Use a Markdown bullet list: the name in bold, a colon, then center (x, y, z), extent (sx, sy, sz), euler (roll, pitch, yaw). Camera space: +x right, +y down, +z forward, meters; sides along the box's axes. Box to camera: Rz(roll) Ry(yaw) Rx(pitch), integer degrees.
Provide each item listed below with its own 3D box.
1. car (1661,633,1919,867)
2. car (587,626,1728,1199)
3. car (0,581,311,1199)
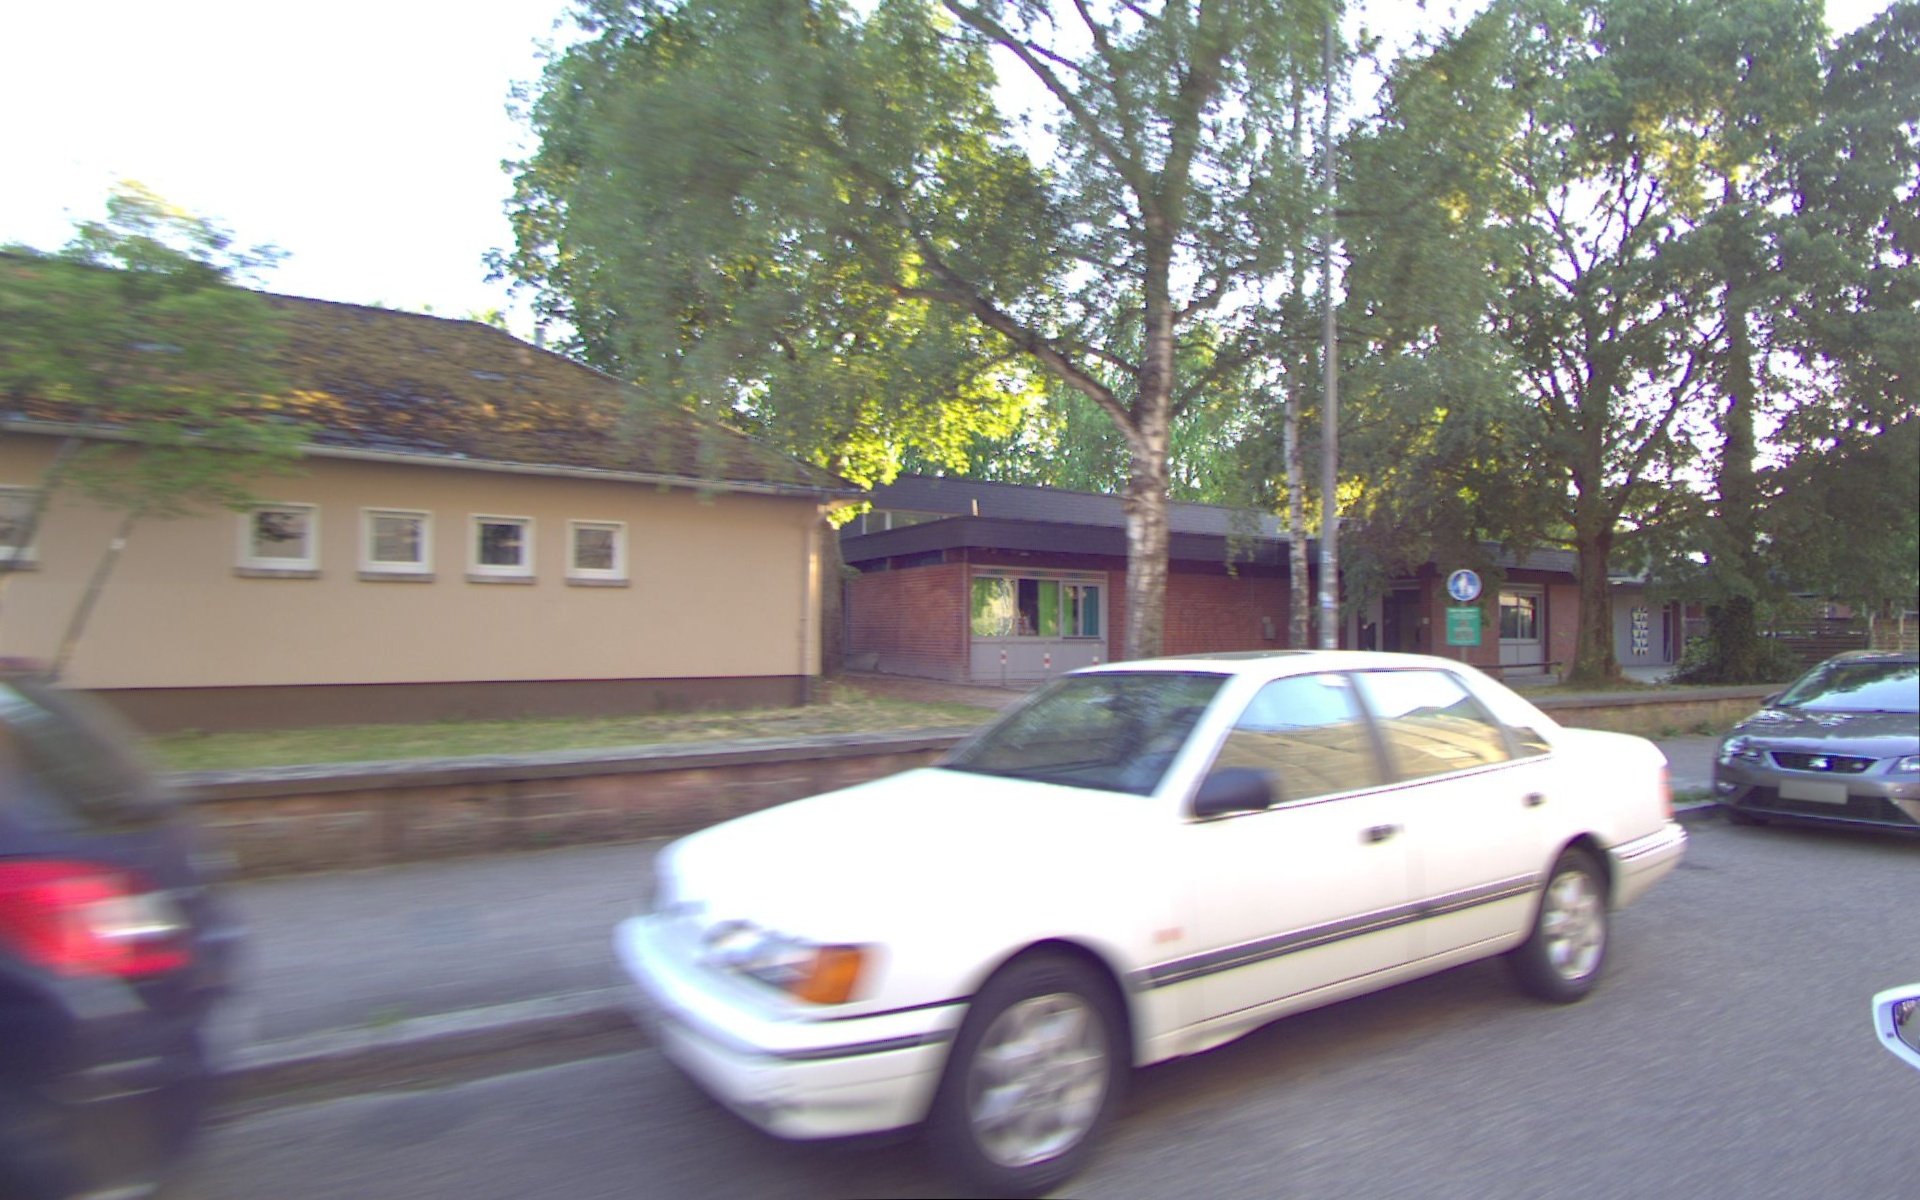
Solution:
- **car**: center (8.101, 1.083, 8.489), extent (4.705, 1.558, 1.850), euler (2, -3, -32)
- **car**: center (1.077, 0.903, 4.182), extent (4.695, 1.464, 1.774), euler (2, -4, -32)
- **car**: center (-3.496, 0.683, 1.734), extent (3.959, 1.472, 1.981), euler (1, -2, -34)
